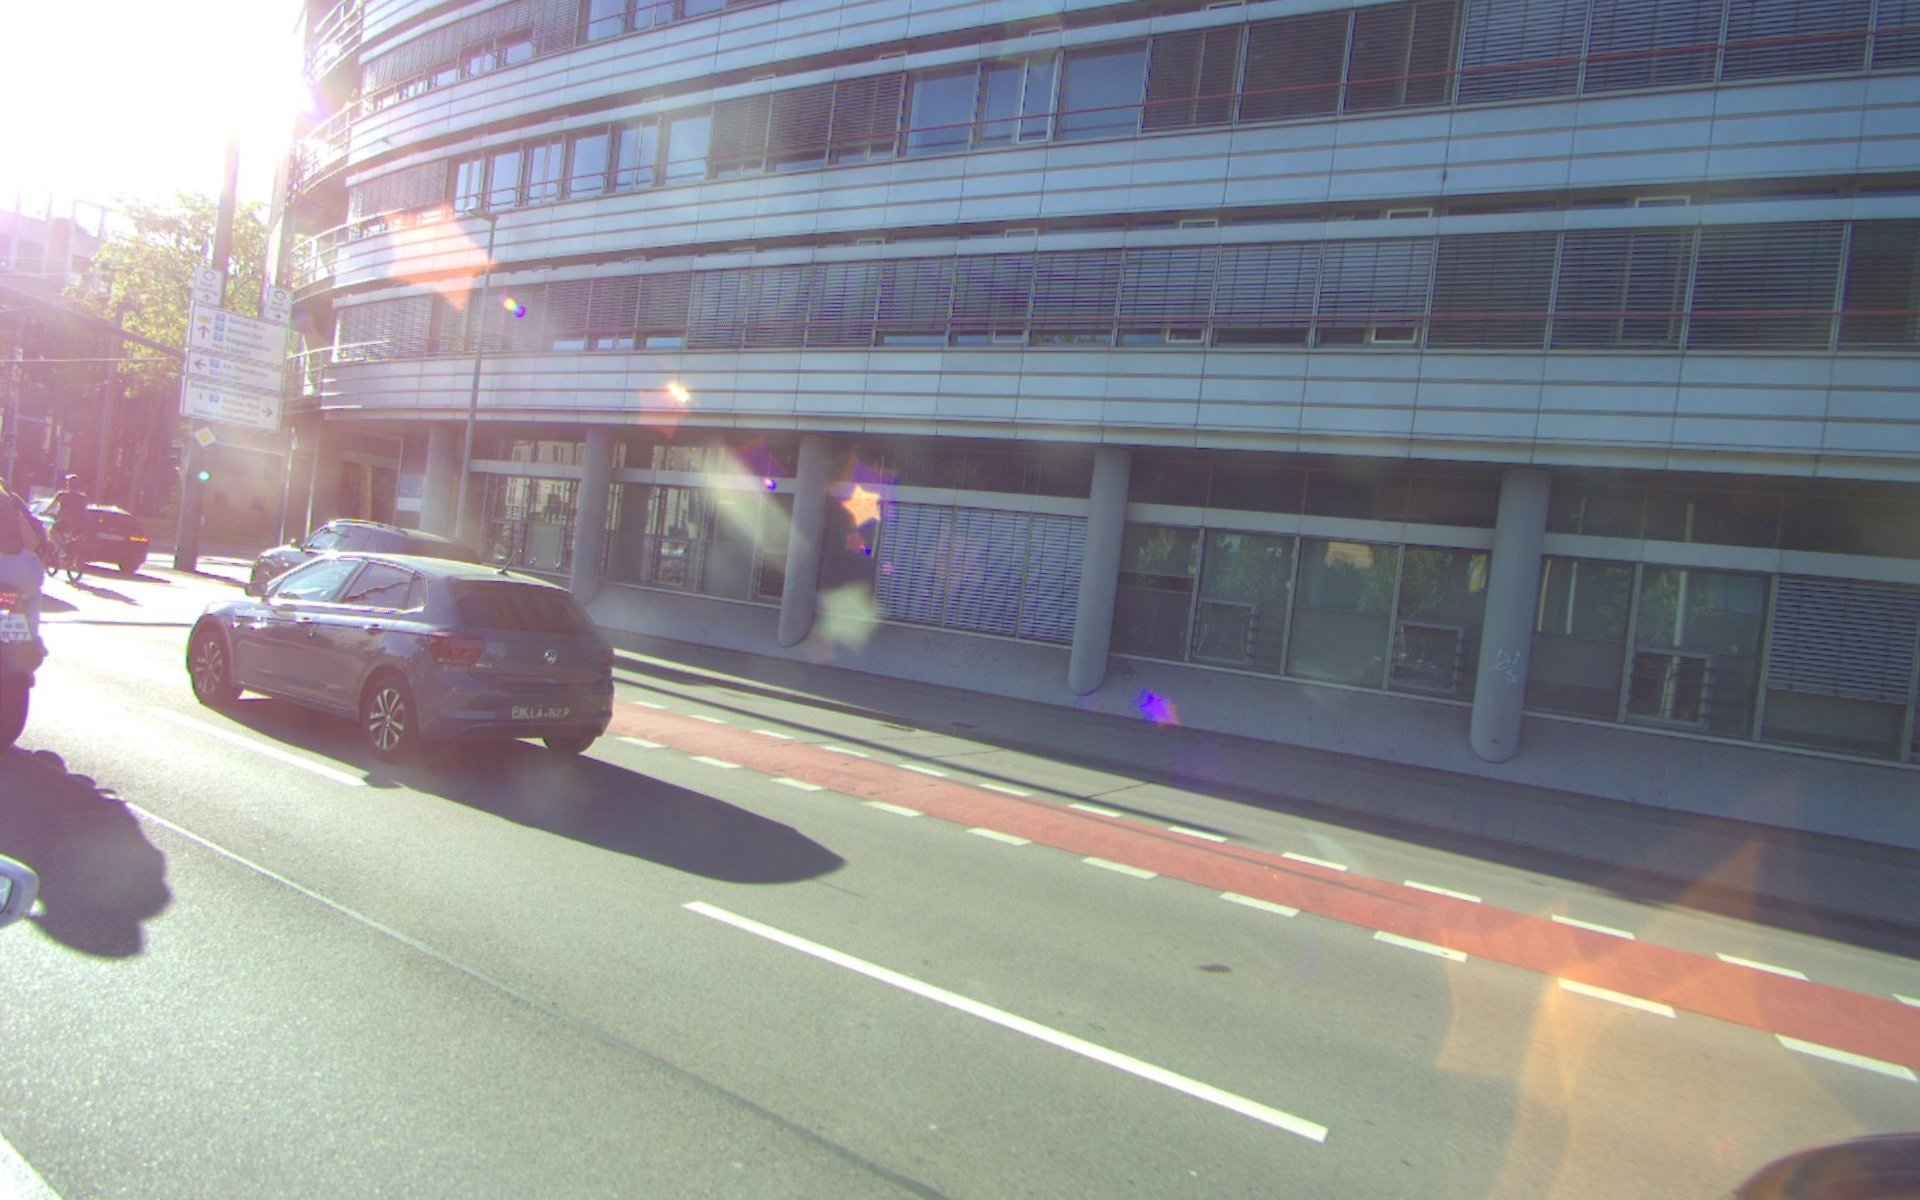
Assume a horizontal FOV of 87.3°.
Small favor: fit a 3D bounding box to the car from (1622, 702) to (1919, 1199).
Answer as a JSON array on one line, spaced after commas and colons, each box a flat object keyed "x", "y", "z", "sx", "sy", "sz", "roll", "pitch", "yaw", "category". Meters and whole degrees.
[{"x": 2.923, "y": 1.170, "z": 0.376, "sx": 4.425, "sy": 1.508, "sz": 1.814, "roll": 7, "pitch": -3, "yaw": 35, "category": "car"}]

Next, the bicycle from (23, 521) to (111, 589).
[{"x": -16.278, "y": -0.827, "z": 18.313, "sx": 2.289, "sy": 1.010, "sz": 0.492, "roll": 7, "pitch": 1, "yaw": 32, "category": "bicycle"}]

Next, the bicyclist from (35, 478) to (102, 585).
[{"x": -16.235, "y": -1.246, "z": 18.312, "sx": 0.849, "sy": 1.813, "sz": 0.577, "roll": 7, "pitch": 1, "yaw": 33, "category": "bicyclist"}]

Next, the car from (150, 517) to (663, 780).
[{"x": -4.653, "y": 0.321, "z": 8.385, "sx": 3.931, "sy": 1.474, "sz": 1.811, "roll": 7, "pitch": -1, "yaw": 29, "category": "car"}]

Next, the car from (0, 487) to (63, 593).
[{"x": -15.812, "y": -1.129, "z": 15.499, "sx": 3.933, "sy": 1.474, "sz": 1.811, "roll": 7, "pitch": -1, "yaw": 31, "category": "car"}]

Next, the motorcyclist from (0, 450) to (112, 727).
[{"x": -5.755, "y": -0.102, "z": 5.973, "sx": 1.004, "sy": 1.549, "sz": 0.745, "roll": 7, "pitch": 1, "yaw": 34, "category": "motorcyclist"}]

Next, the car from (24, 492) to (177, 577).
[{"x": -20.252, "y": -1.563, "z": 23.654, "sx": 3.942, "sy": 1.436, "sz": 1.994, "roll": 8, "pitch": -2, "yaw": 40, "category": "car"}]

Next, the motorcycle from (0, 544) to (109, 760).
[{"x": -6.122, "y": 0.242, "z": 6.182, "sx": 1.937, "sy": 1.129, "sz": 0.776, "roll": 7, "pitch": 1, "yaw": 33, "category": "motorcycle"}]

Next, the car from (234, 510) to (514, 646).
[{"x": -10.177, "y": -0.377, "z": 17.467, "sx": 4.251, "sy": 1.771, "sz": 1.999, "roll": 7, "pitch": 0, "yaw": 25, "category": "car"}]
